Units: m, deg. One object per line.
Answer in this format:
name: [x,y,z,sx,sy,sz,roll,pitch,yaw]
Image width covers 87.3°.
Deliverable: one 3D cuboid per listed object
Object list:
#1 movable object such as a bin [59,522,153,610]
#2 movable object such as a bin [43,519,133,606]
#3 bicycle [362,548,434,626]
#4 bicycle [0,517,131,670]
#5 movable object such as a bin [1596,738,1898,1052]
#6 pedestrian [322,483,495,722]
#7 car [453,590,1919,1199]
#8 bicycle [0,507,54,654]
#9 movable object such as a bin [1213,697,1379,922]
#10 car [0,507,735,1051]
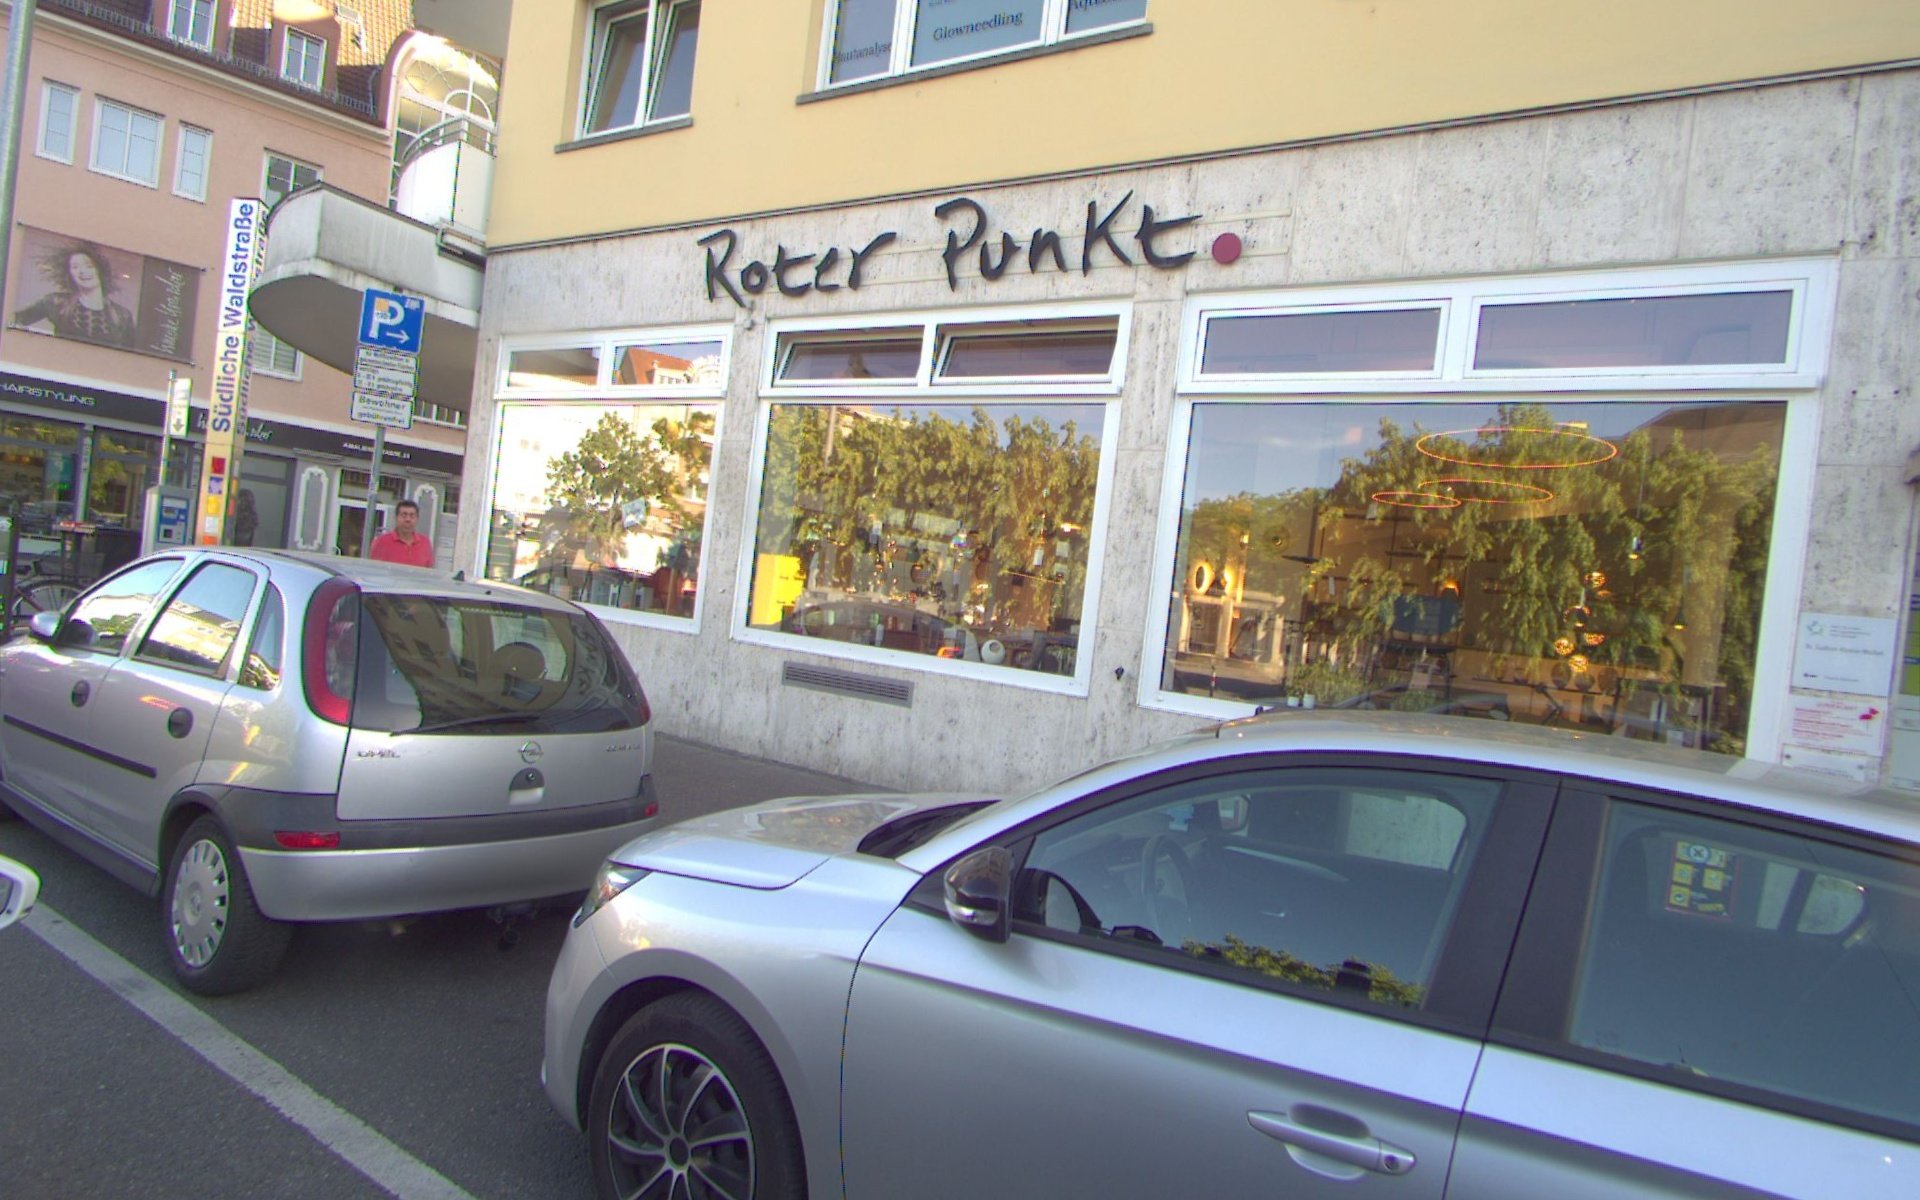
movable object such as a bin: [-11.908,-0.468,14.035,0.617,1.105,0.754,6,-1,34]
movable object such as a bin: [-12.444,-0.526,14.355,0.617,1.105,0.734,6,-1,34]
bicycle: [-10.063,-0.251,17.972,0.656,1.213,2.187,7,-1,-39]
bicycle: [-8.111,-0.083,8.234,0.681,1.208,1.885,8,1,37]
movable object such as a bin: [3.428,1.229,4.488,0.879,1.066,0.751,7,0,32]
pedestrian: [-4.529,0.008,8.263,0.994,1.808,0.862,7,3,40]
car: [0.773,0.928,2.316,3.643,1.415,1.653,7,-1,30]
bicycle: [-9.116,-0.234,8.708,0.778,1.284,1.721,7,1,37]
movable object such as a bin: [1.860,1.094,5.521,0.592,1.041,0.811,7,0,31]
car: [-2.947,0.481,4.468,3.583,1.397,1.616,7,-2,32]
